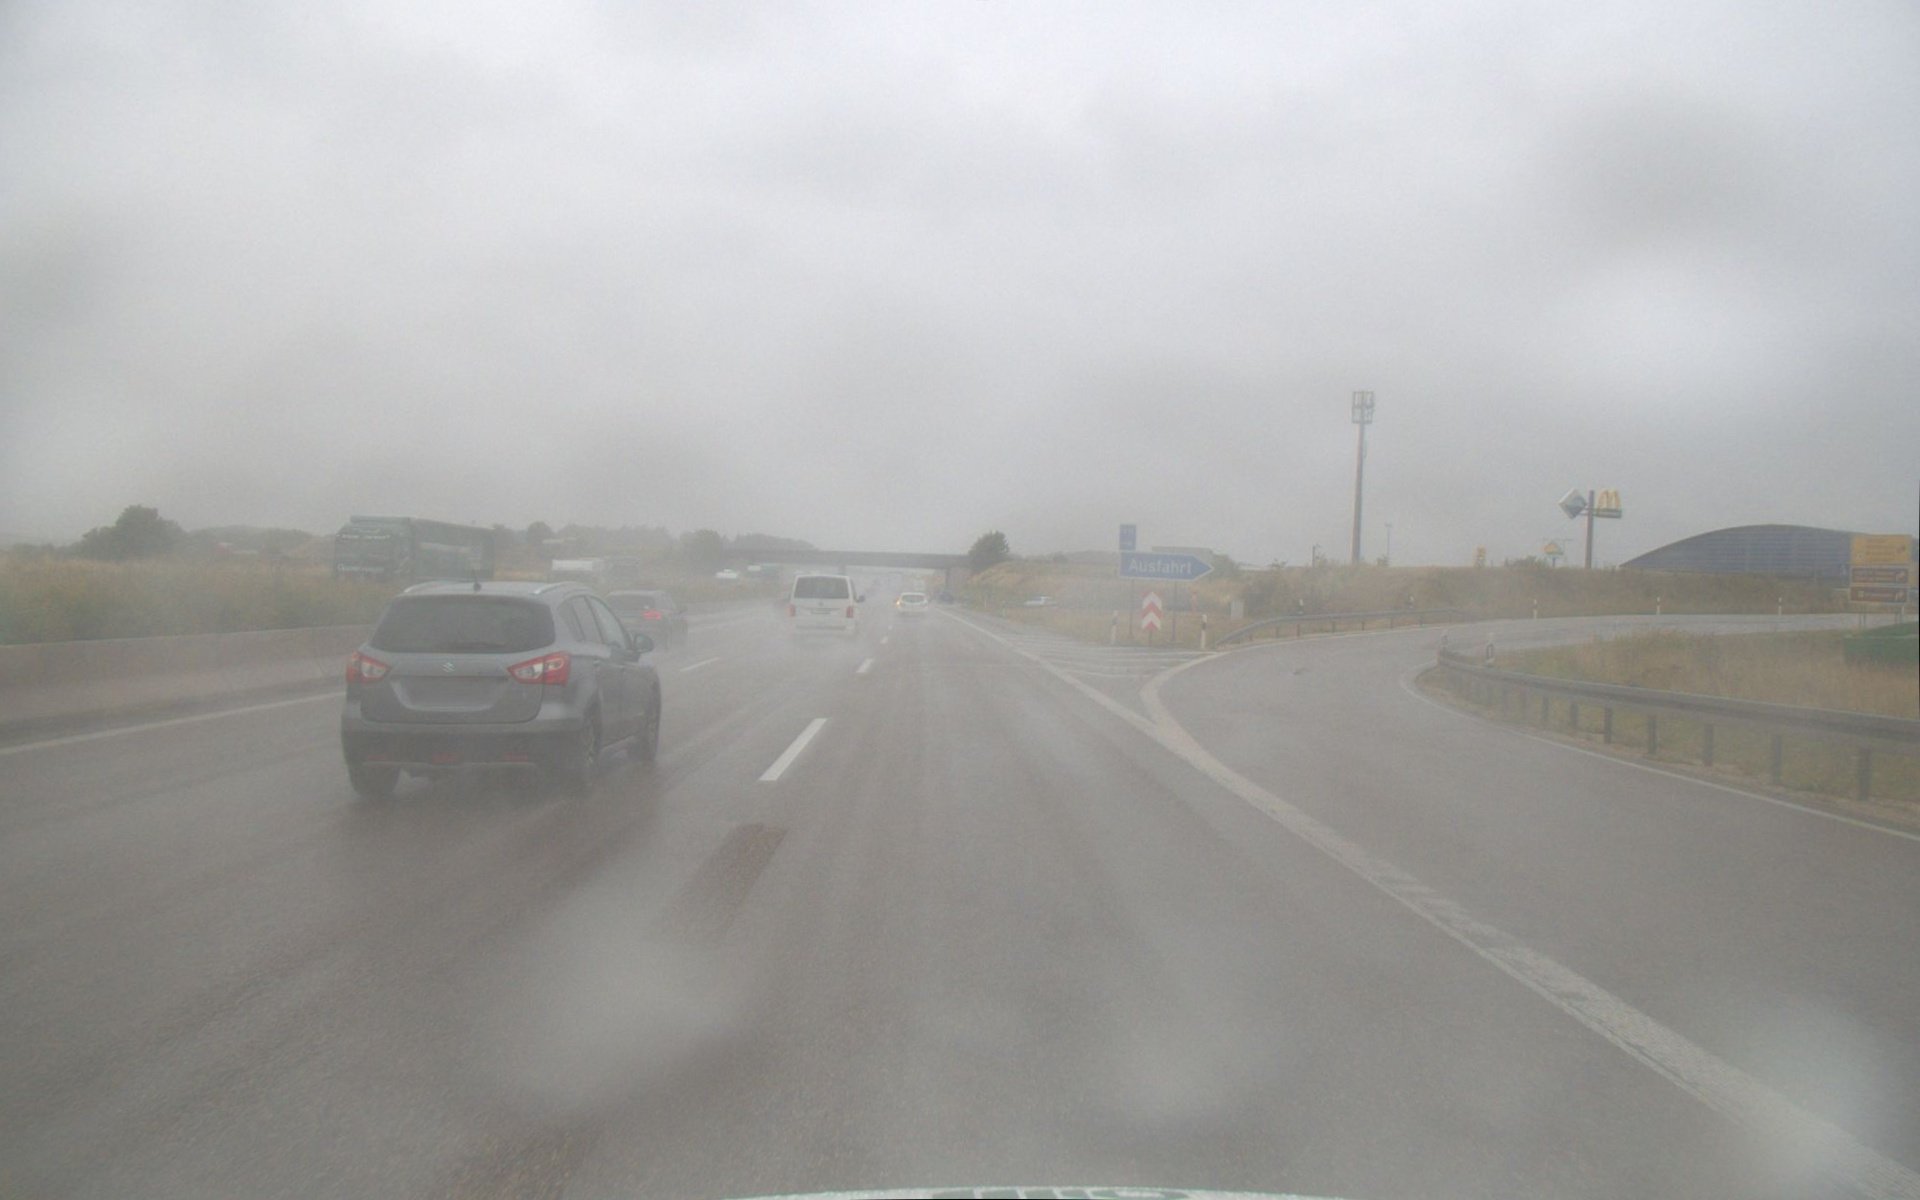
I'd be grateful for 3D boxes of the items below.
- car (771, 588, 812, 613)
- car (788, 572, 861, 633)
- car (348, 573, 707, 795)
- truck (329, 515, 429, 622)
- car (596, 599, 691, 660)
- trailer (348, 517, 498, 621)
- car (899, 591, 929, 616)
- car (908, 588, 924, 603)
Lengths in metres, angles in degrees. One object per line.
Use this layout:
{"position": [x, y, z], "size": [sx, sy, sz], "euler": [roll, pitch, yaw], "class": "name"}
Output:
{"position": [-8.759, 0.021, 86.316], "size": [1.436, 1.279, 3.342], "euler": [1, 0, 6], "class": "car"}
{"position": [-3.765, 0.077, 46.629], "size": [1.859, 1.613, 3.998], "euler": [1, 0, -3], "class": "car"}
{"position": [-3.426, 0.586, 14.081], "size": [1.808, 1.539, 4.756], "euler": [1, 0, 0], "class": "car"}
{"position": [-23.237, -1.225, 66.412], "size": [2.169, 4.053, 5.183], "euler": [2, 0, -1], "class": "truck"}
{"position": [-7.575, 0.668, 39.900], "size": [1.580, 1.378, 3.999], "euler": [1, 0, -1], "class": "car"}
{"position": [-23.382, -1.255, 72.975], "size": [2.179, 4.067, 14.203], "euler": [2, 0, -1], "class": "trailer"}
{"position": [-2.318, 0.163, 84.423], "size": [1.438, 1.229, 2.991], "euler": [1, 0, 0], "class": "car"}
{"position": [-6.661, -0.695, 249.546], "size": [1.955, 2.138, 3.996], "euler": [3, 1, -5], "class": "car"}
